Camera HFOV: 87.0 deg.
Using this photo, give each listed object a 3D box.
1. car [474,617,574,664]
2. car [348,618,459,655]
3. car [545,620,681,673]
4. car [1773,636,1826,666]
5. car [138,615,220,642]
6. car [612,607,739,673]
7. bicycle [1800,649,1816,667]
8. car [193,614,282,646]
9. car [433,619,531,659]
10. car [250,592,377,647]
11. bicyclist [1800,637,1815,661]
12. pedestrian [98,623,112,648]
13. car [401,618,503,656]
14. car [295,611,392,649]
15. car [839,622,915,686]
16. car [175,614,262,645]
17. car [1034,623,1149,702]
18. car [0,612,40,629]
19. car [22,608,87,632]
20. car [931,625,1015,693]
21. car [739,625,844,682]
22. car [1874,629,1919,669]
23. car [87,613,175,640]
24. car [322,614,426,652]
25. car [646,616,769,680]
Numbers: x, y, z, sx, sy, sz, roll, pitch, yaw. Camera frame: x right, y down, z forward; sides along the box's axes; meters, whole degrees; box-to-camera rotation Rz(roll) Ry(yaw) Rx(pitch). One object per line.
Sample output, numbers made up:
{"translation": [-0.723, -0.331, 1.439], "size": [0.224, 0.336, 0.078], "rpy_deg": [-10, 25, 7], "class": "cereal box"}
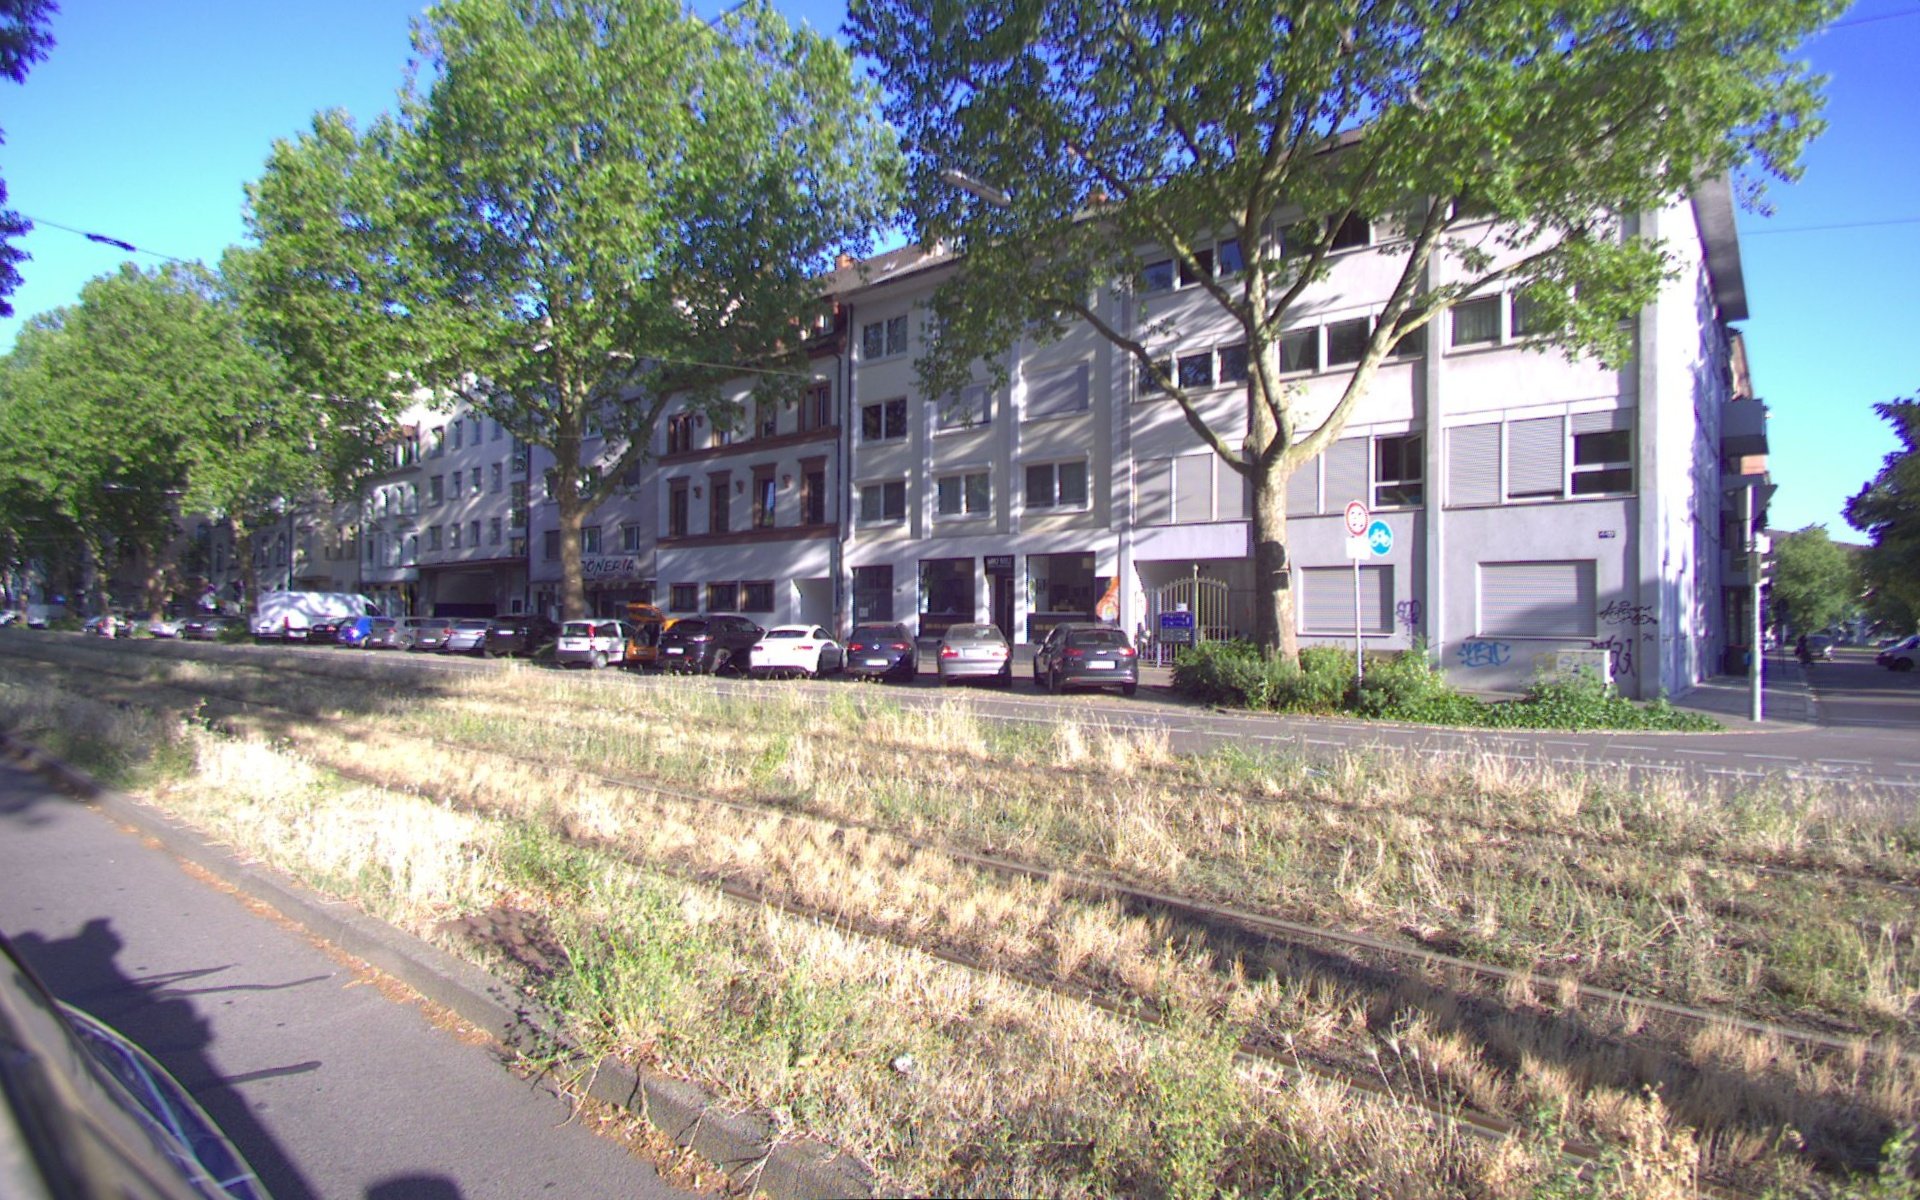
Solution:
{"translation": [-16.131, 1.462, 37.705], "size": [1.881, 1.626, 4.257], "rpy_deg": [1, -1, 0], "class": "car"}
{"translation": [-24.503, 1.577, 44.720], "size": [1.985, 1.529, 3.973], "rpy_deg": [0, -1, 20], "class": "car"}
{"translation": [-10.905, 1.438, 32.142], "size": [1.634, 1.569, 4.221], "rpy_deg": [0, -2, 25], "class": "car"}
{"translation": [61.664, 3.726, 74.468], "size": [1.991, 2.029, 5.371], "rpy_deg": [0, -2, 29], "class": "car"}
{"translation": [-52.406, 1.908, 67.982], "size": [1.980, 1.719, 3.983], "rpy_deg": [0, -1, 13], "class": "car"}
{"translation": [-8.944, 1.229, 32.144], "size": [1.508, 1.958, 4.221], "rpy_deg": [0, -2, 25], "class": "car"}
{"translation": [48.355, 3.300, 57.697], "size": [0.632, 0.988, 1.962], "rpy_deg": [-1, -2, 41], "class": "bicycle"}
{"translation": [-43.229, 1.806, 60.650], "size": [1.980, 1.829, 3.983], "rpy_deg": [0, -1, 13], "class": "car"}
{"translation": [-18.766, 1.512, 39.940], "size": [1.582, 1.470, 4.251], "rpy_deg": [0, -1, 4], "class": "car"}
{"translation": [-33.751, 1.044, 53.051], "size": [2.161, 2.721, 5.583], "rpy_deg": [0, -1, 16], "class": "car"}
{"translation": [48.543, 2.791, 57.930], "size": [0.632, 1.341, 0.956], "rpy_deg": [-1, -2, 41], "class": "bicyclist"}
{"translation": [-55.896, 2.311, 66.168], "size": [0.421, 1.609, 0.612], "rpy_deg": [-1, -2, 41], "class": "pedestrian"}
{"translation": [-21.107, 1.519, 42.246], "size": [1.883, 1.468, 4.251], "rpy_deg": [0, -1, 4], "class": "car"}
{"translation": [-31.381, 1.510, 51.665], "size": [1.980, 1.829, 3.983], "rpy_deg": [0, -1, 13], "class": "car"}
{"translation": [-2.075, 1.329, 26.147], "size": [1.805, 1.515, 3.973], "rpy_deg": [1, -1, -2], "class": "car"}
{"translation": [-45.828, 1.833, 62.640], "size": [1.980, 1.829, 3.983], "rpy_deg": [0, -1, 13], "class": "car"}
{"translation": [2.710, 1.268, 21.730], "size": [1.746, 1.442, 3.973], "rpy_deg": [-1, 0, -3], "class": "car"}
{"translation": [-107.177, 2.317, 114.935], "size": [3.937, 1.826, 1.876], "rpy_deg": [2, -2, -40], "class": "car"}
{"translation": [-89.080, 1.963, 99.634], "size": [2.071, 2.230, 4.943], "rpy_deg": [1, -1, -2], "class": "car"}
{"translation": [0.215, 1.314, 23.745], "size": [1.717, 1.443, 3.973], "rpy_deg": [-1, -1, -3], "class": "car"}
{"translation": [-4.407, 1.365, 27.102], "size": [2.123, 1.388, 4.257], "rpy_deg": [1, -1, 0], "class": "car"}
{"translation": [50.350, 2.509, 51.446], "size": [5.403, 2.029, 1.980], "rpy_deg": [0, -2, 30], "class": "car"}
{"translation": [-55.544, 1.778, 67.881], "size": [1.996, 1.719, 4.184], "rpy_deg": [-1, -2, 36], "class": "car"}
{"translation": [-26.935, 1.499, 46.687], "size": [1.980, 1.630, 3.983], "rpy_deg": [0, -1, 13], "class": "car"}
{"translation": [-7.117, 1.326, 29.016], "size": [2.126, 1.697, 4.250], "rpy_deg": [0, -1, 5], "class": "car"}
